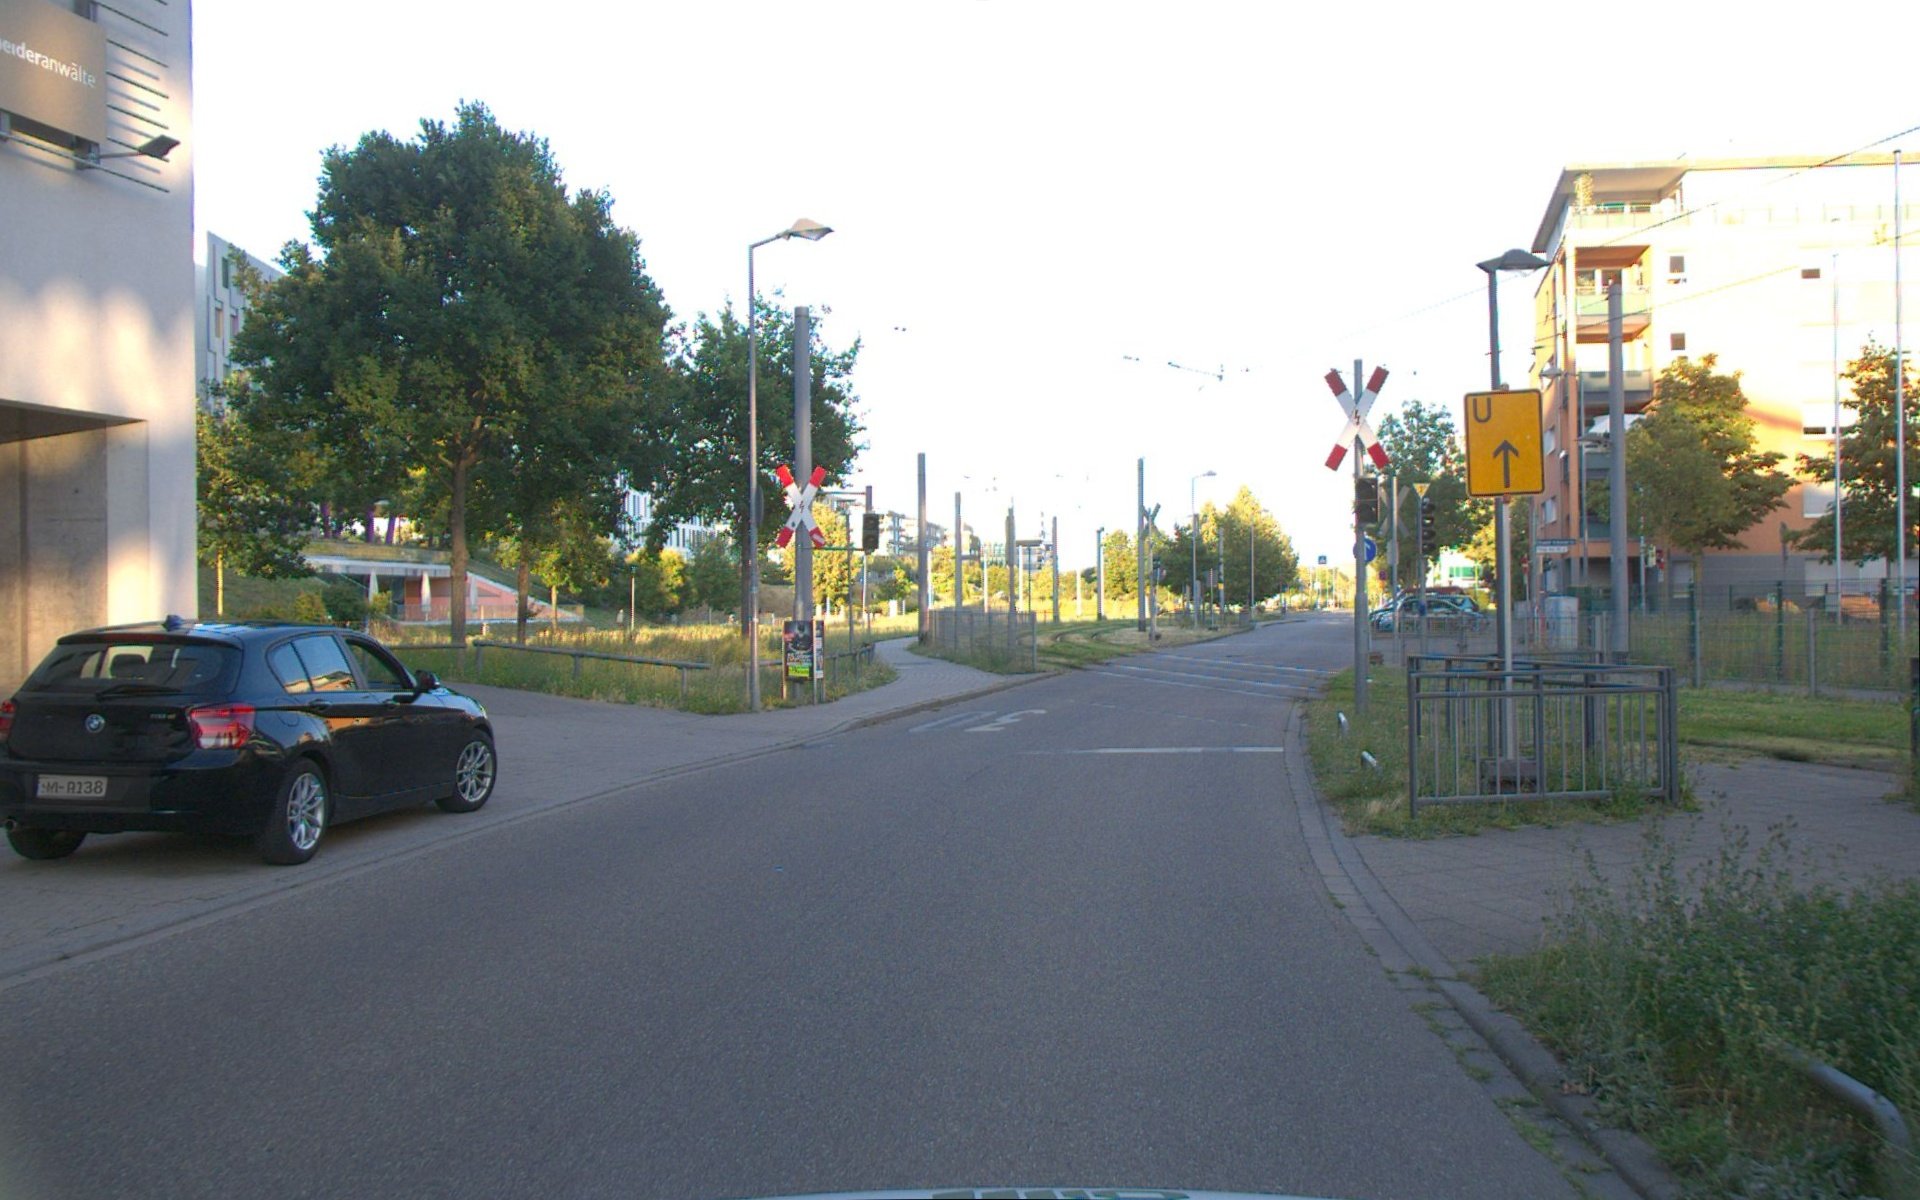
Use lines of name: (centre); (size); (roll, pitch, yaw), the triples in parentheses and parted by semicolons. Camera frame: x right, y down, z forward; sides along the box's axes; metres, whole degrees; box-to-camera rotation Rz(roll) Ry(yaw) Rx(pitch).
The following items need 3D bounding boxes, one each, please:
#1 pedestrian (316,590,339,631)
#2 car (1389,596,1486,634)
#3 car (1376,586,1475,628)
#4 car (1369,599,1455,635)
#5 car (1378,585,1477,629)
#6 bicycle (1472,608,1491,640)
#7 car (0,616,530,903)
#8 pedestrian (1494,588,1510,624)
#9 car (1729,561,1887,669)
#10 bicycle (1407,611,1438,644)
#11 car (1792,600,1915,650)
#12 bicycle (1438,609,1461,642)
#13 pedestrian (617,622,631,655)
pedestrian: (-29.070, 0.499, 75.993); (0.603, 1.869, 0.791); (1, -1, 13)
car: (19.608, 0.624, 68.030); (3.669, 1.499, 1.614); (-1, 0, 10)
car: (19.721, 0.293, 70.200); (3.964, 1.596, 1.674); (-3, -1, 15)
car: (20.640, 0.793, 75.615); (3.693, 1.522, 1.540); (-1, -3, 14)
car: (24.002, 0.388, 84.997); (4.815, 2.154, 2.018); (-1, -1, 16)
bicycle: (19.953, 0.894, 63.342); (0.518, 1.146, 1.964); (0, 1, 12)
car: (-4.501, 0.868, 10.986); (1.813, 1.467, 4.230); (1, 0, 5)
pedestrian: (26.869, 0.305, 82.042); (0.654, 1.774, 0.700); (-1, -1, 14)
car: (17.290, 0.300, 33.927); (1.951, 2.049, 4.003); (-1, 0, 13)
bicycle: (17.727, 1.041, 63.410); (0.701, 1.172, 1.899); (-3, 1, 4)
car: (30.372, 0.829, 56.393); (1.951, 1.622, 4.818); (-1, 0, 6)
bicycle: (18.699, 0.962, 63.195); (0.664, 1.172, 1.929); (-3, 1, 12)
pedestrian: (-21.647, 2.452, 106.560); (0.603, 2.119, 0.791); (1, -1, 13)
